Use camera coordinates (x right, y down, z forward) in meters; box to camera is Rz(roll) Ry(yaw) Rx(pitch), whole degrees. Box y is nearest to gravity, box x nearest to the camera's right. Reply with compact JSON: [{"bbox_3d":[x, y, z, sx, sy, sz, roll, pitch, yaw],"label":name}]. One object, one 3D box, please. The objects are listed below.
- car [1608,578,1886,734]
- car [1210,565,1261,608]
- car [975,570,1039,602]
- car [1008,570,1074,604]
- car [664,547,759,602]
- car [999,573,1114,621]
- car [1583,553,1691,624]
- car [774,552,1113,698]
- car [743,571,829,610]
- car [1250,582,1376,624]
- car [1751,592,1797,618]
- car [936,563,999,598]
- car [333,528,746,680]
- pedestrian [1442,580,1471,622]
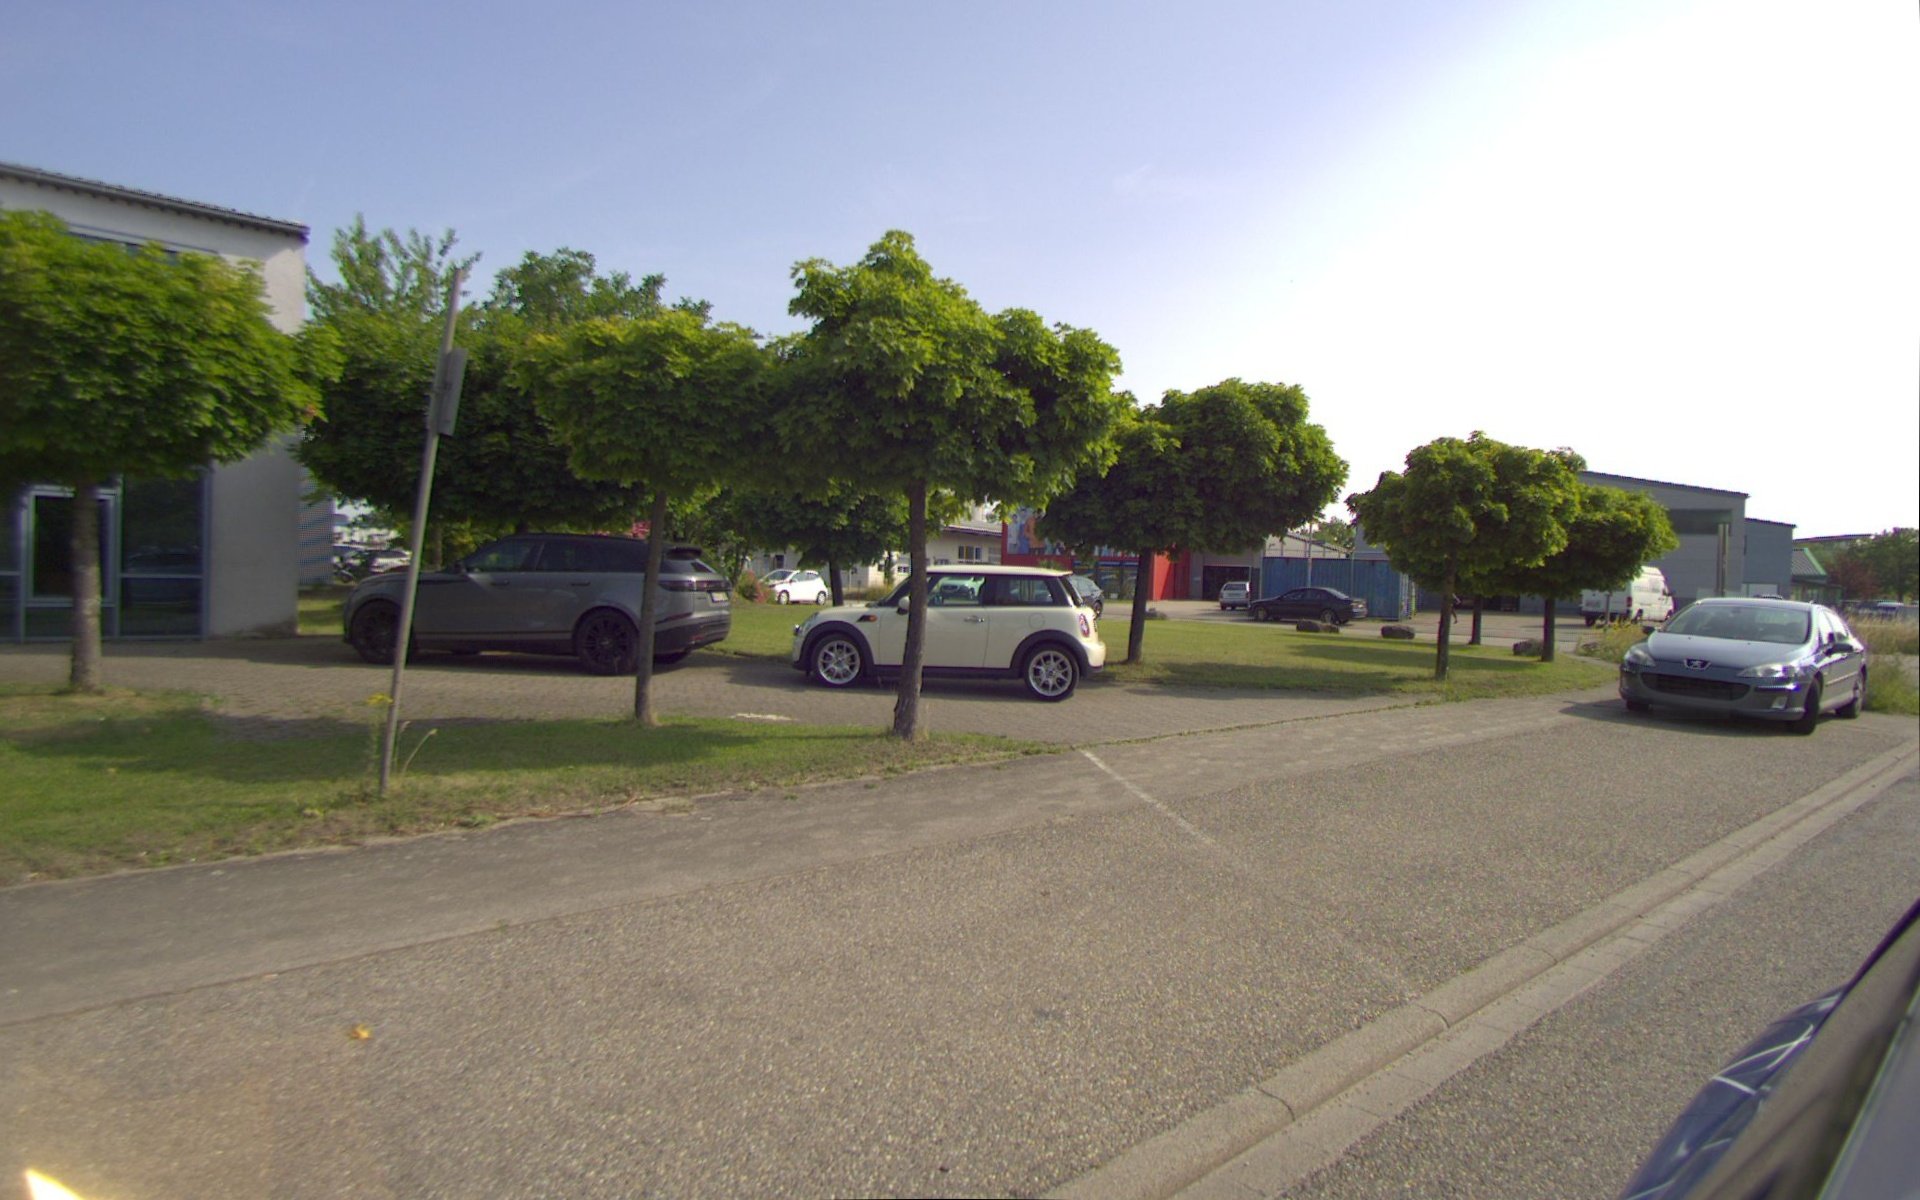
[{"bbox_3d":[9.752,0.565,12.413,4.345,1.536,1.798,0,2,-40],"label":"car"},{"bbox_3d":[14.106,-0.698,51.639,1.978,2.038,3.969,2,2,23],"label":"car"},{"bbox_3d":[2.613,-0.767,55.201,1.772,1.653,4.162,3,2,30],"label":"car"},{"bbox_3d":[4.367,-0.707,53.858,1.772,1.653,4.419,3,2,30],"label":"car"},{"bbox_3d":[-10.475,-1.036,42.825,1.673,1.981,3.665,4,-1,31],"label":"car"},{"bbox_3d":[3.244,-0.130,33.429,1.777,1.426,4.289,3,2,37],"label":"car"},{"bbox_3d":[27.999,-0.469,41.767,5.773,2.739,1.979,1,1,-39],"label":"car"},{"bbox_3d":[-0.116,0.224,11.708,3.640,1.397,1.682,2,2,11],"label":"car"},{"bbox_3d":[-7.076,-0.418,41.368,1.551,1.468,3.480,2,3,31],"label":"car"},{"bbox_3d":[14.128,0.078,40.674,4.456,1.426,1.784,3,3,42],"label":"car"},{"bbox_3d":[52.308,0.305,65.104,1.625,1.587,3.767,2,2,29],"label":"car"},{"bbox_3d":[0.477,-1.088,57.043,1.701,1.819,4.162,3,2,30],"label":"car"},{"bbox_3d":[-5.090,0.010,12.520,4.455,1.608,1.685,2,1,7],"label":"car"},{"bbox_3d":[20.446,0.035,41.684,0.733,1.660,0.706,1,1,-24],"label":"pedestrian"}]
